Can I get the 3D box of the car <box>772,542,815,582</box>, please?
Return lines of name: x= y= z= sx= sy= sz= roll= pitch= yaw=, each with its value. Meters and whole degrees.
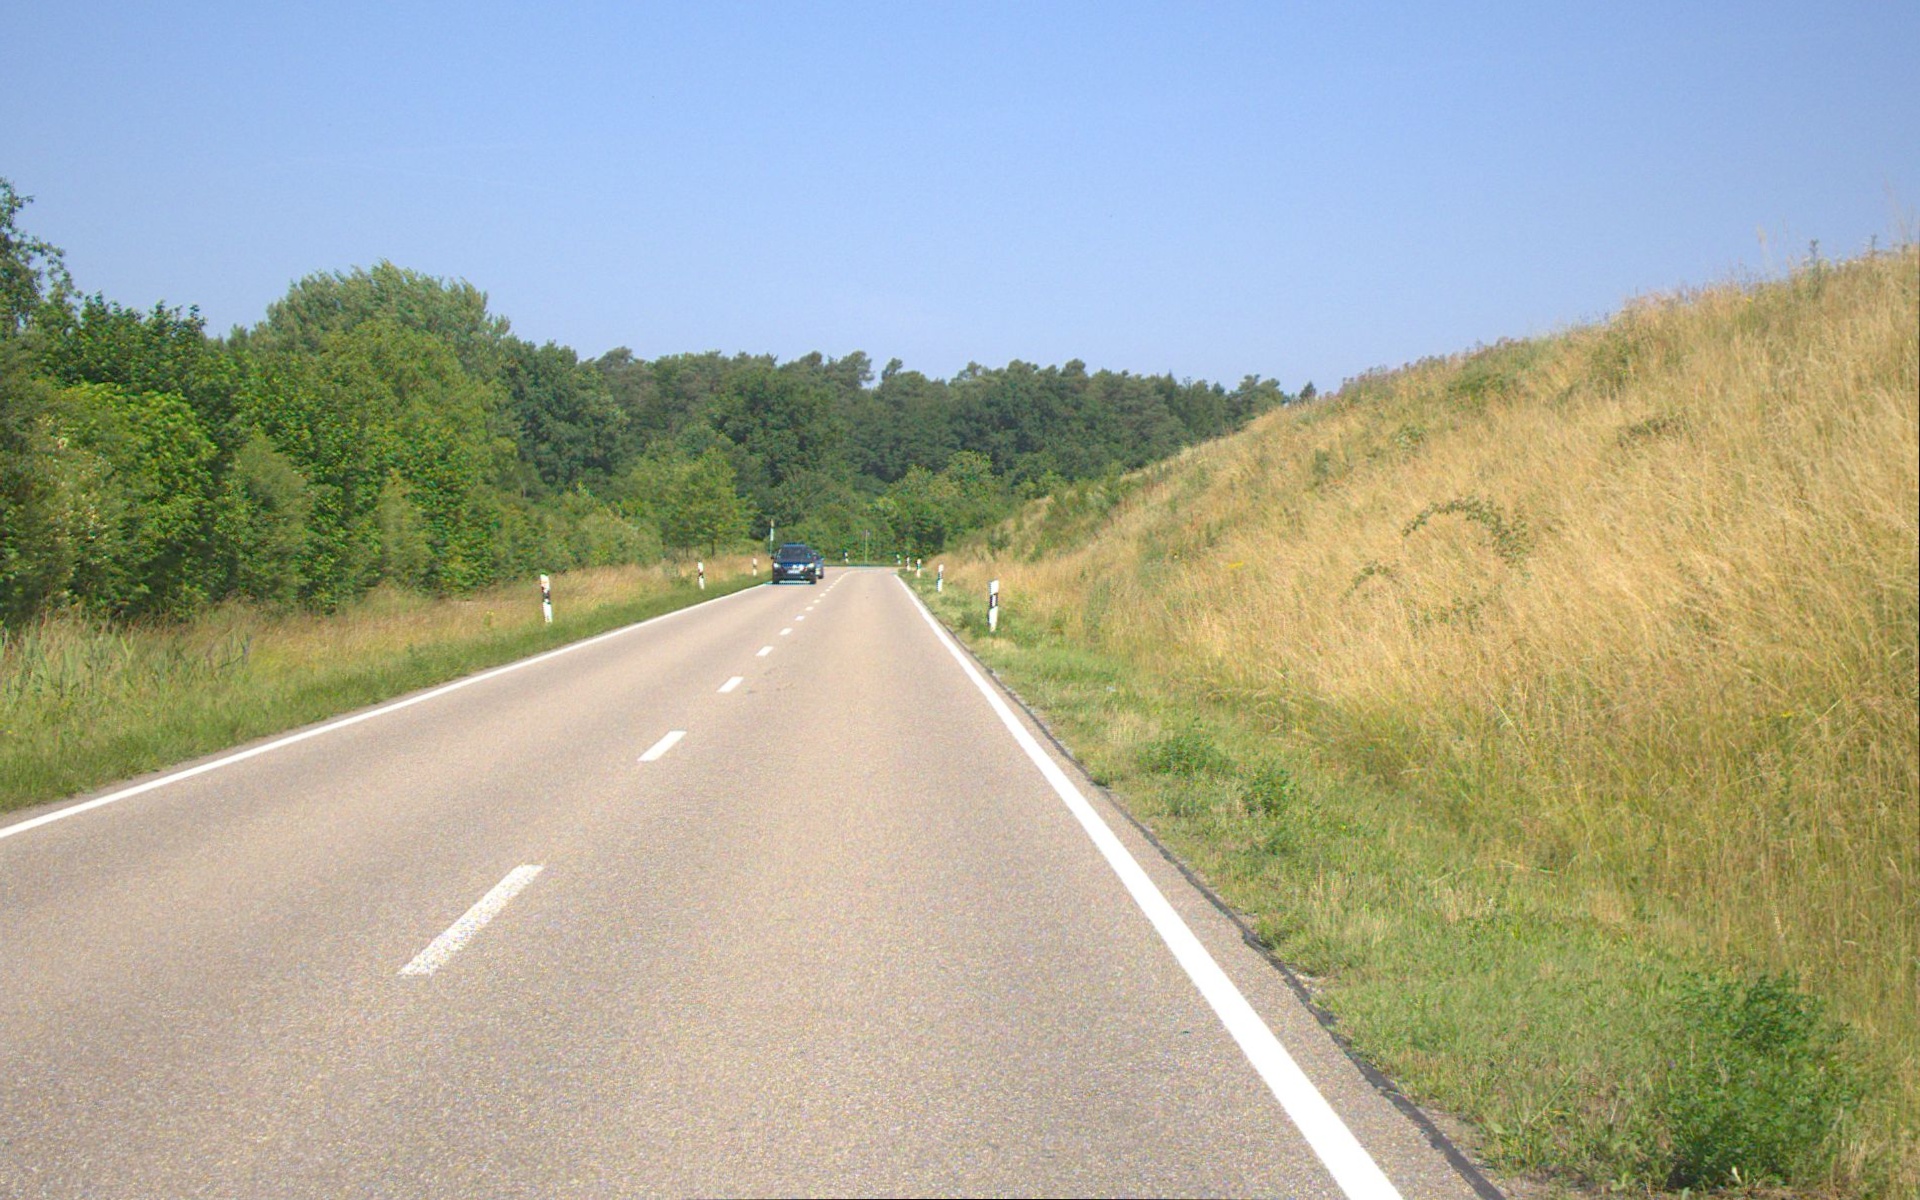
car: x=-6.949 y=-1.598 z=143.694 sx=1.716 sy=1.641 sz=3.915 roll=1 pitch=1 yaw=-2
